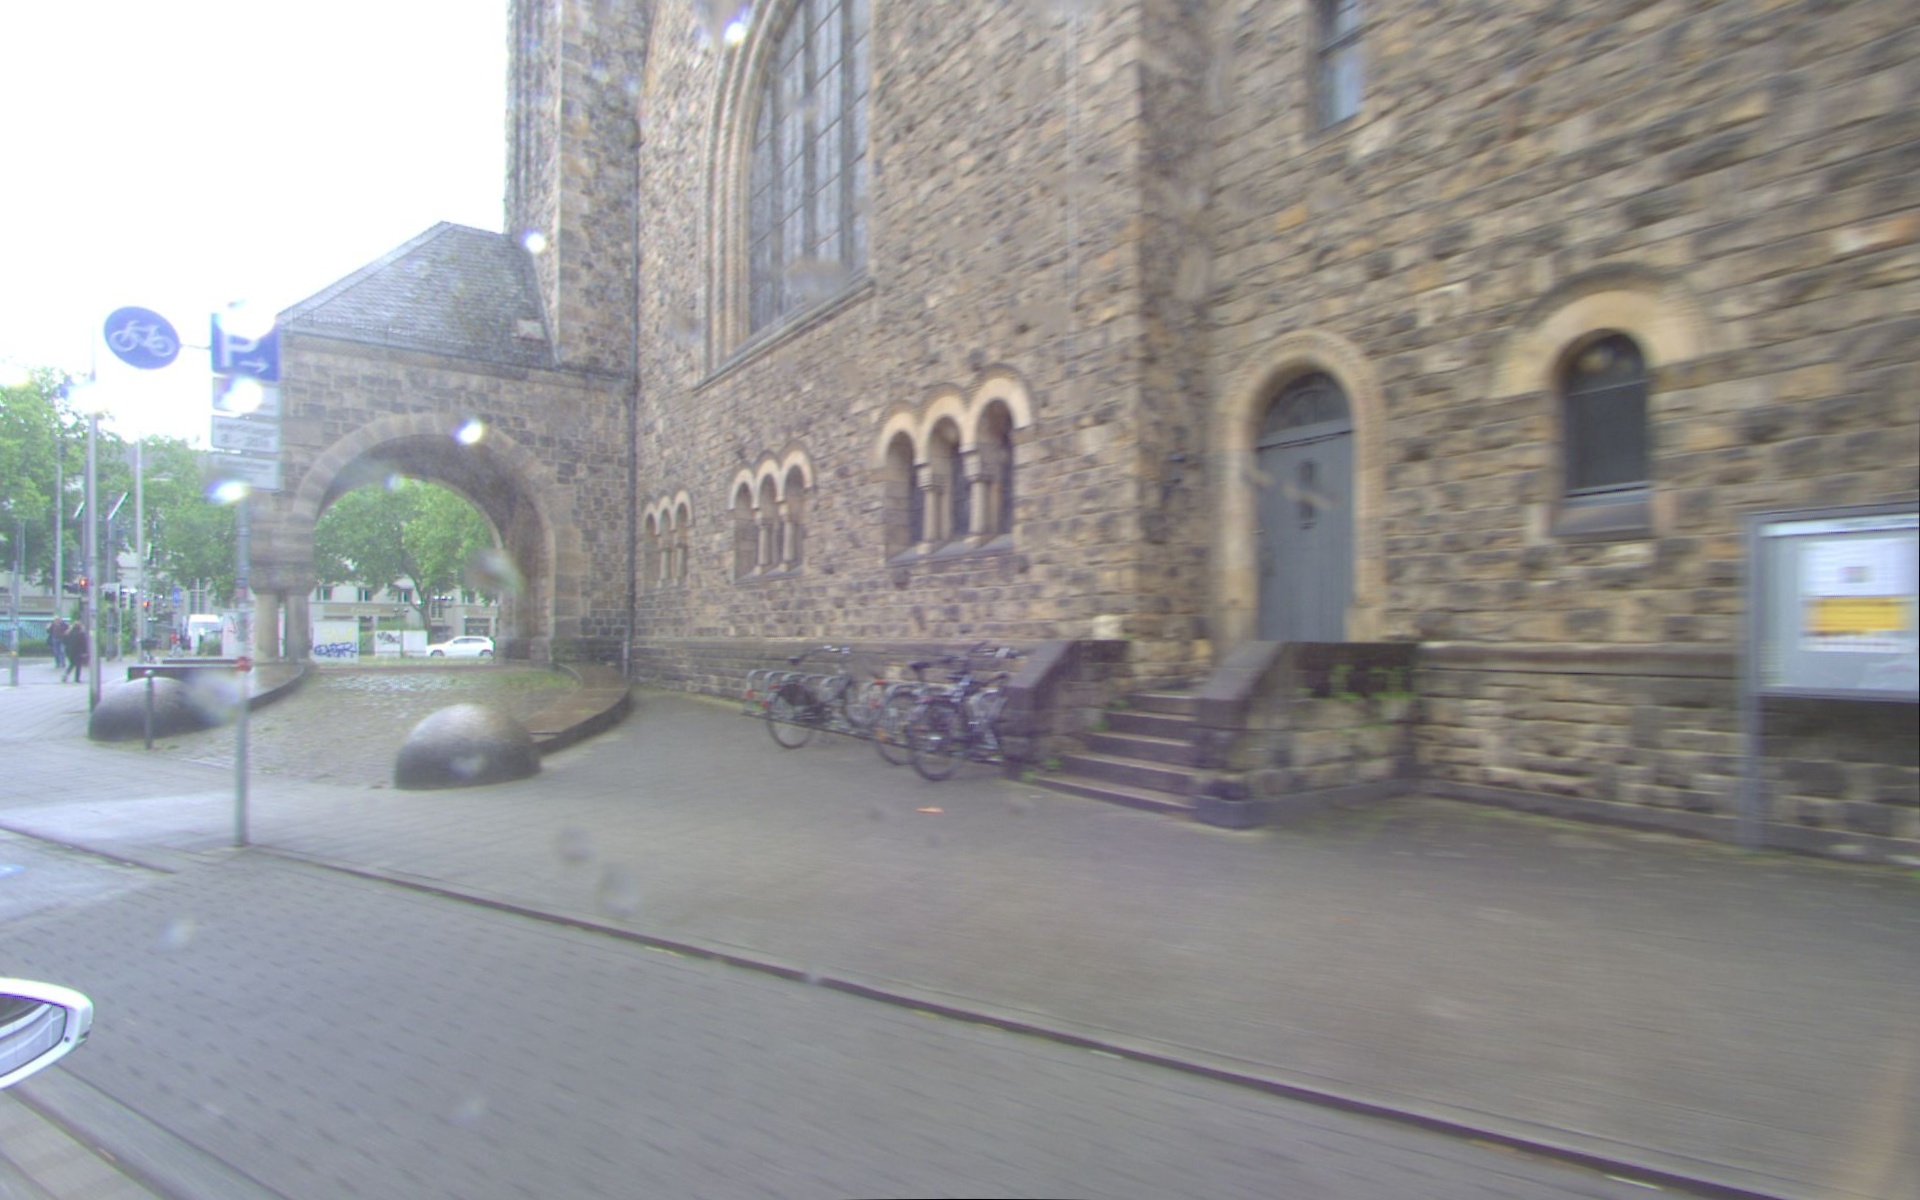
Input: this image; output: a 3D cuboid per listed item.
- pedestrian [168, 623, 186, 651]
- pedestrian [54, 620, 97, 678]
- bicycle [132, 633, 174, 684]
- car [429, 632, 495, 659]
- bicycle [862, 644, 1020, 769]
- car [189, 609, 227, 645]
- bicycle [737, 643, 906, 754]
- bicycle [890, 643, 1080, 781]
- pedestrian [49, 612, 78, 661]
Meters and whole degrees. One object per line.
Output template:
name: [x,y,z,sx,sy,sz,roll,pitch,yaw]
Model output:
pedestrian: [-45.128,2.125,57.743,0.666,1.573,0.758,1,-3,-29]
pedestrian: [-25.848,1.423,29.275,0.772,1.667,0.653,0,-1,-22]
bicycle: [-19.397,1.392,24.058,2.049,1.169,0.327,-1,-1,38]
car: [-29.568,2.695,59.473,3.401,1.572,1.584,1,-1,-32]
bicycle: [-0.166,1.045,10.315,1.697,1.126,0.556,-1,0,-44]
car: [-56.138,2.001,74.820,1.888,2.588,4.758,1,-2,-33]
bicycle: [-1.589,1.109,11.803,0.684,1.119,1.973,-1,0,43]
bicycle: [0.277,0.971,9.212,1.971,1.068,0.508,-1,0,-44]
pedestrian: [-32.812,1.322,36.664,0.780,1.782,0.936,1,-1,-43]
